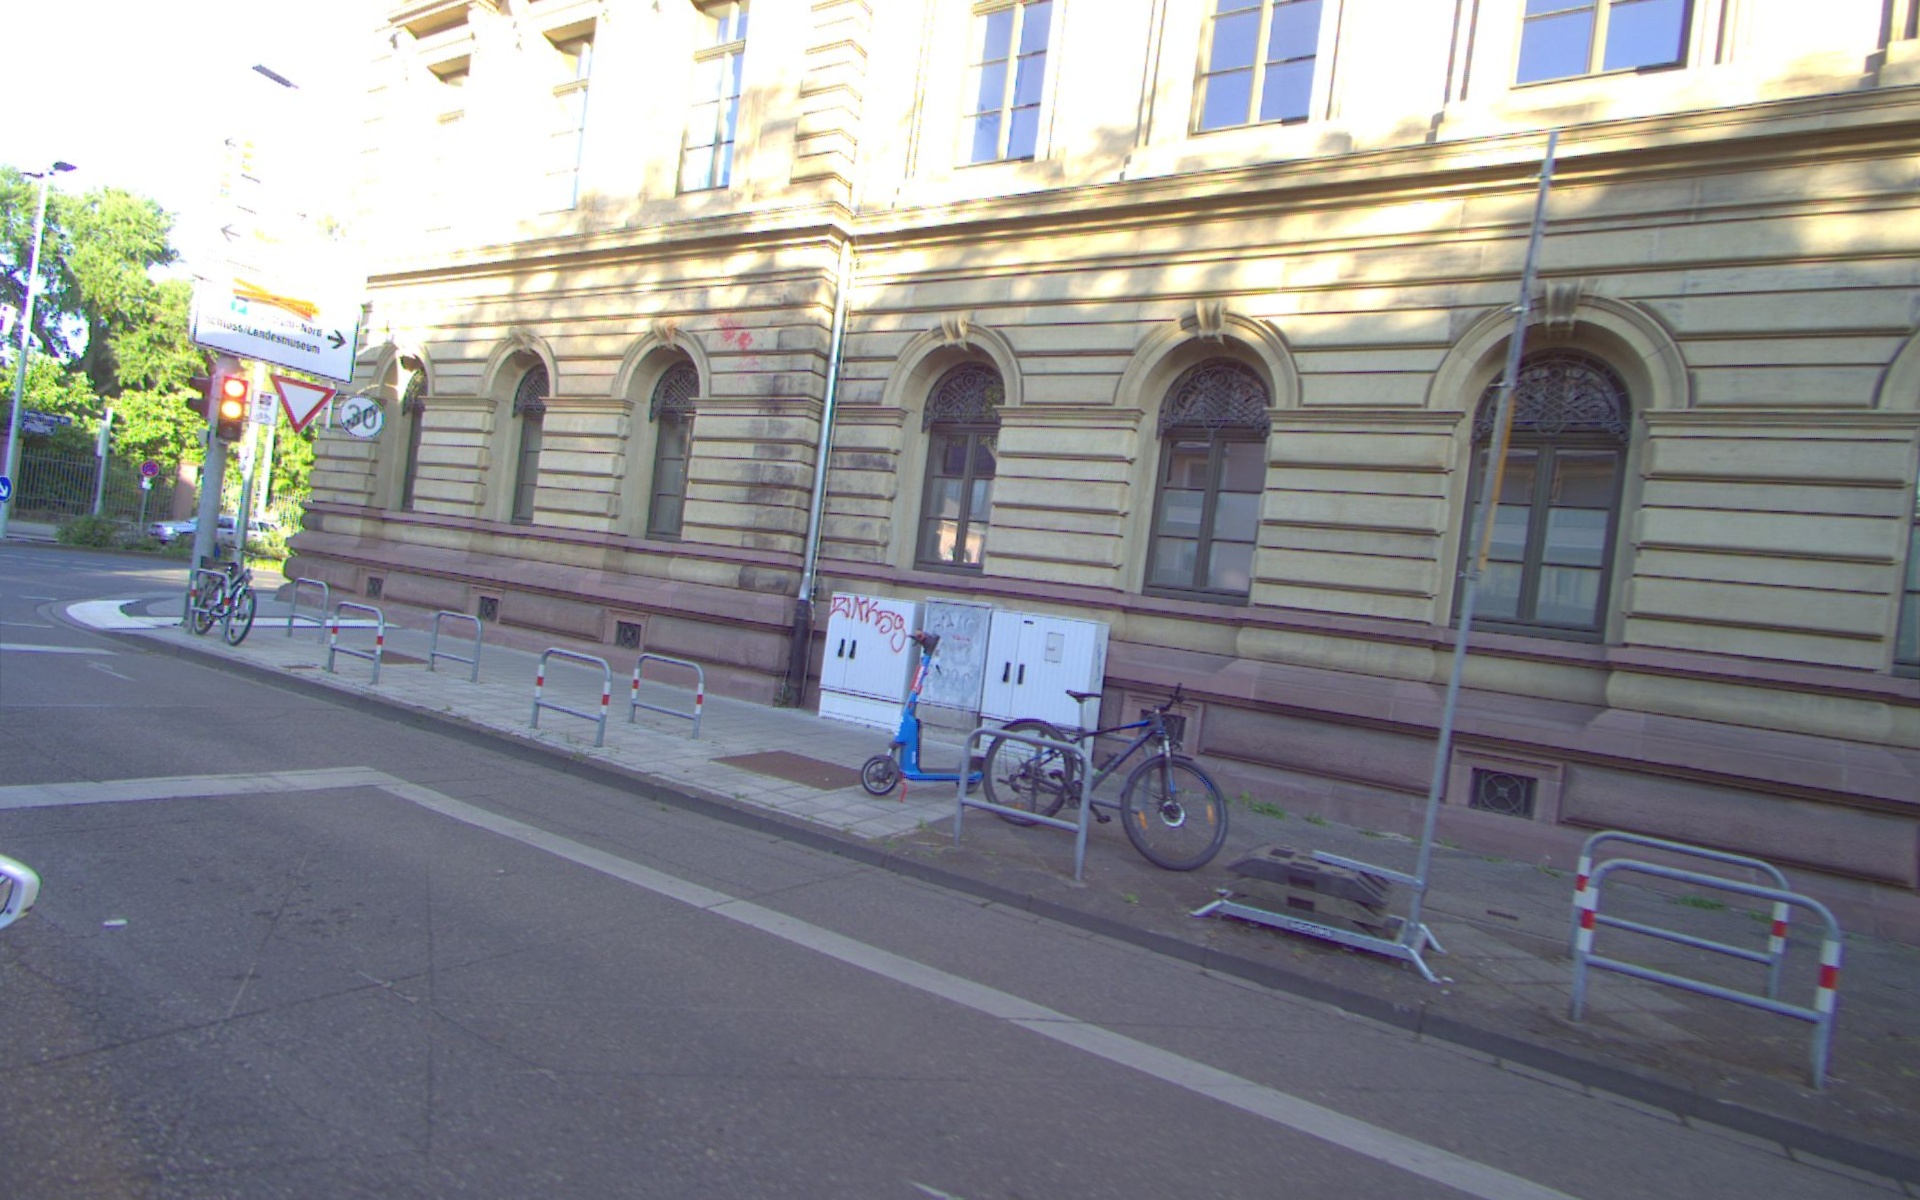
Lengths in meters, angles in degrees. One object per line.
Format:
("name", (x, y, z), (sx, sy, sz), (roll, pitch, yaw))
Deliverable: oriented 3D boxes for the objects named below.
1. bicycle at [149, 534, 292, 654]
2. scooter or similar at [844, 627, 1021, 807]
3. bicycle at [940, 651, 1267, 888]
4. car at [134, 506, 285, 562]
("bicycle", (-8.568, -0.088, 11.633), (1.889, 1.203, 0.583), (5, -1, 32))
("scooter or similar", (-0.199, 0.866, 7.604), (1.125, 1.211, 0.577), (5, 2, -41))
("bicycle", (0.939, 1.043, 6.786), (1.912, 1.149, 0.827), (7, 3, 32))
("car", (-28.484, -2.460, 38.331), (1.684, 1.462, 4.195), (7, -1, 26))
